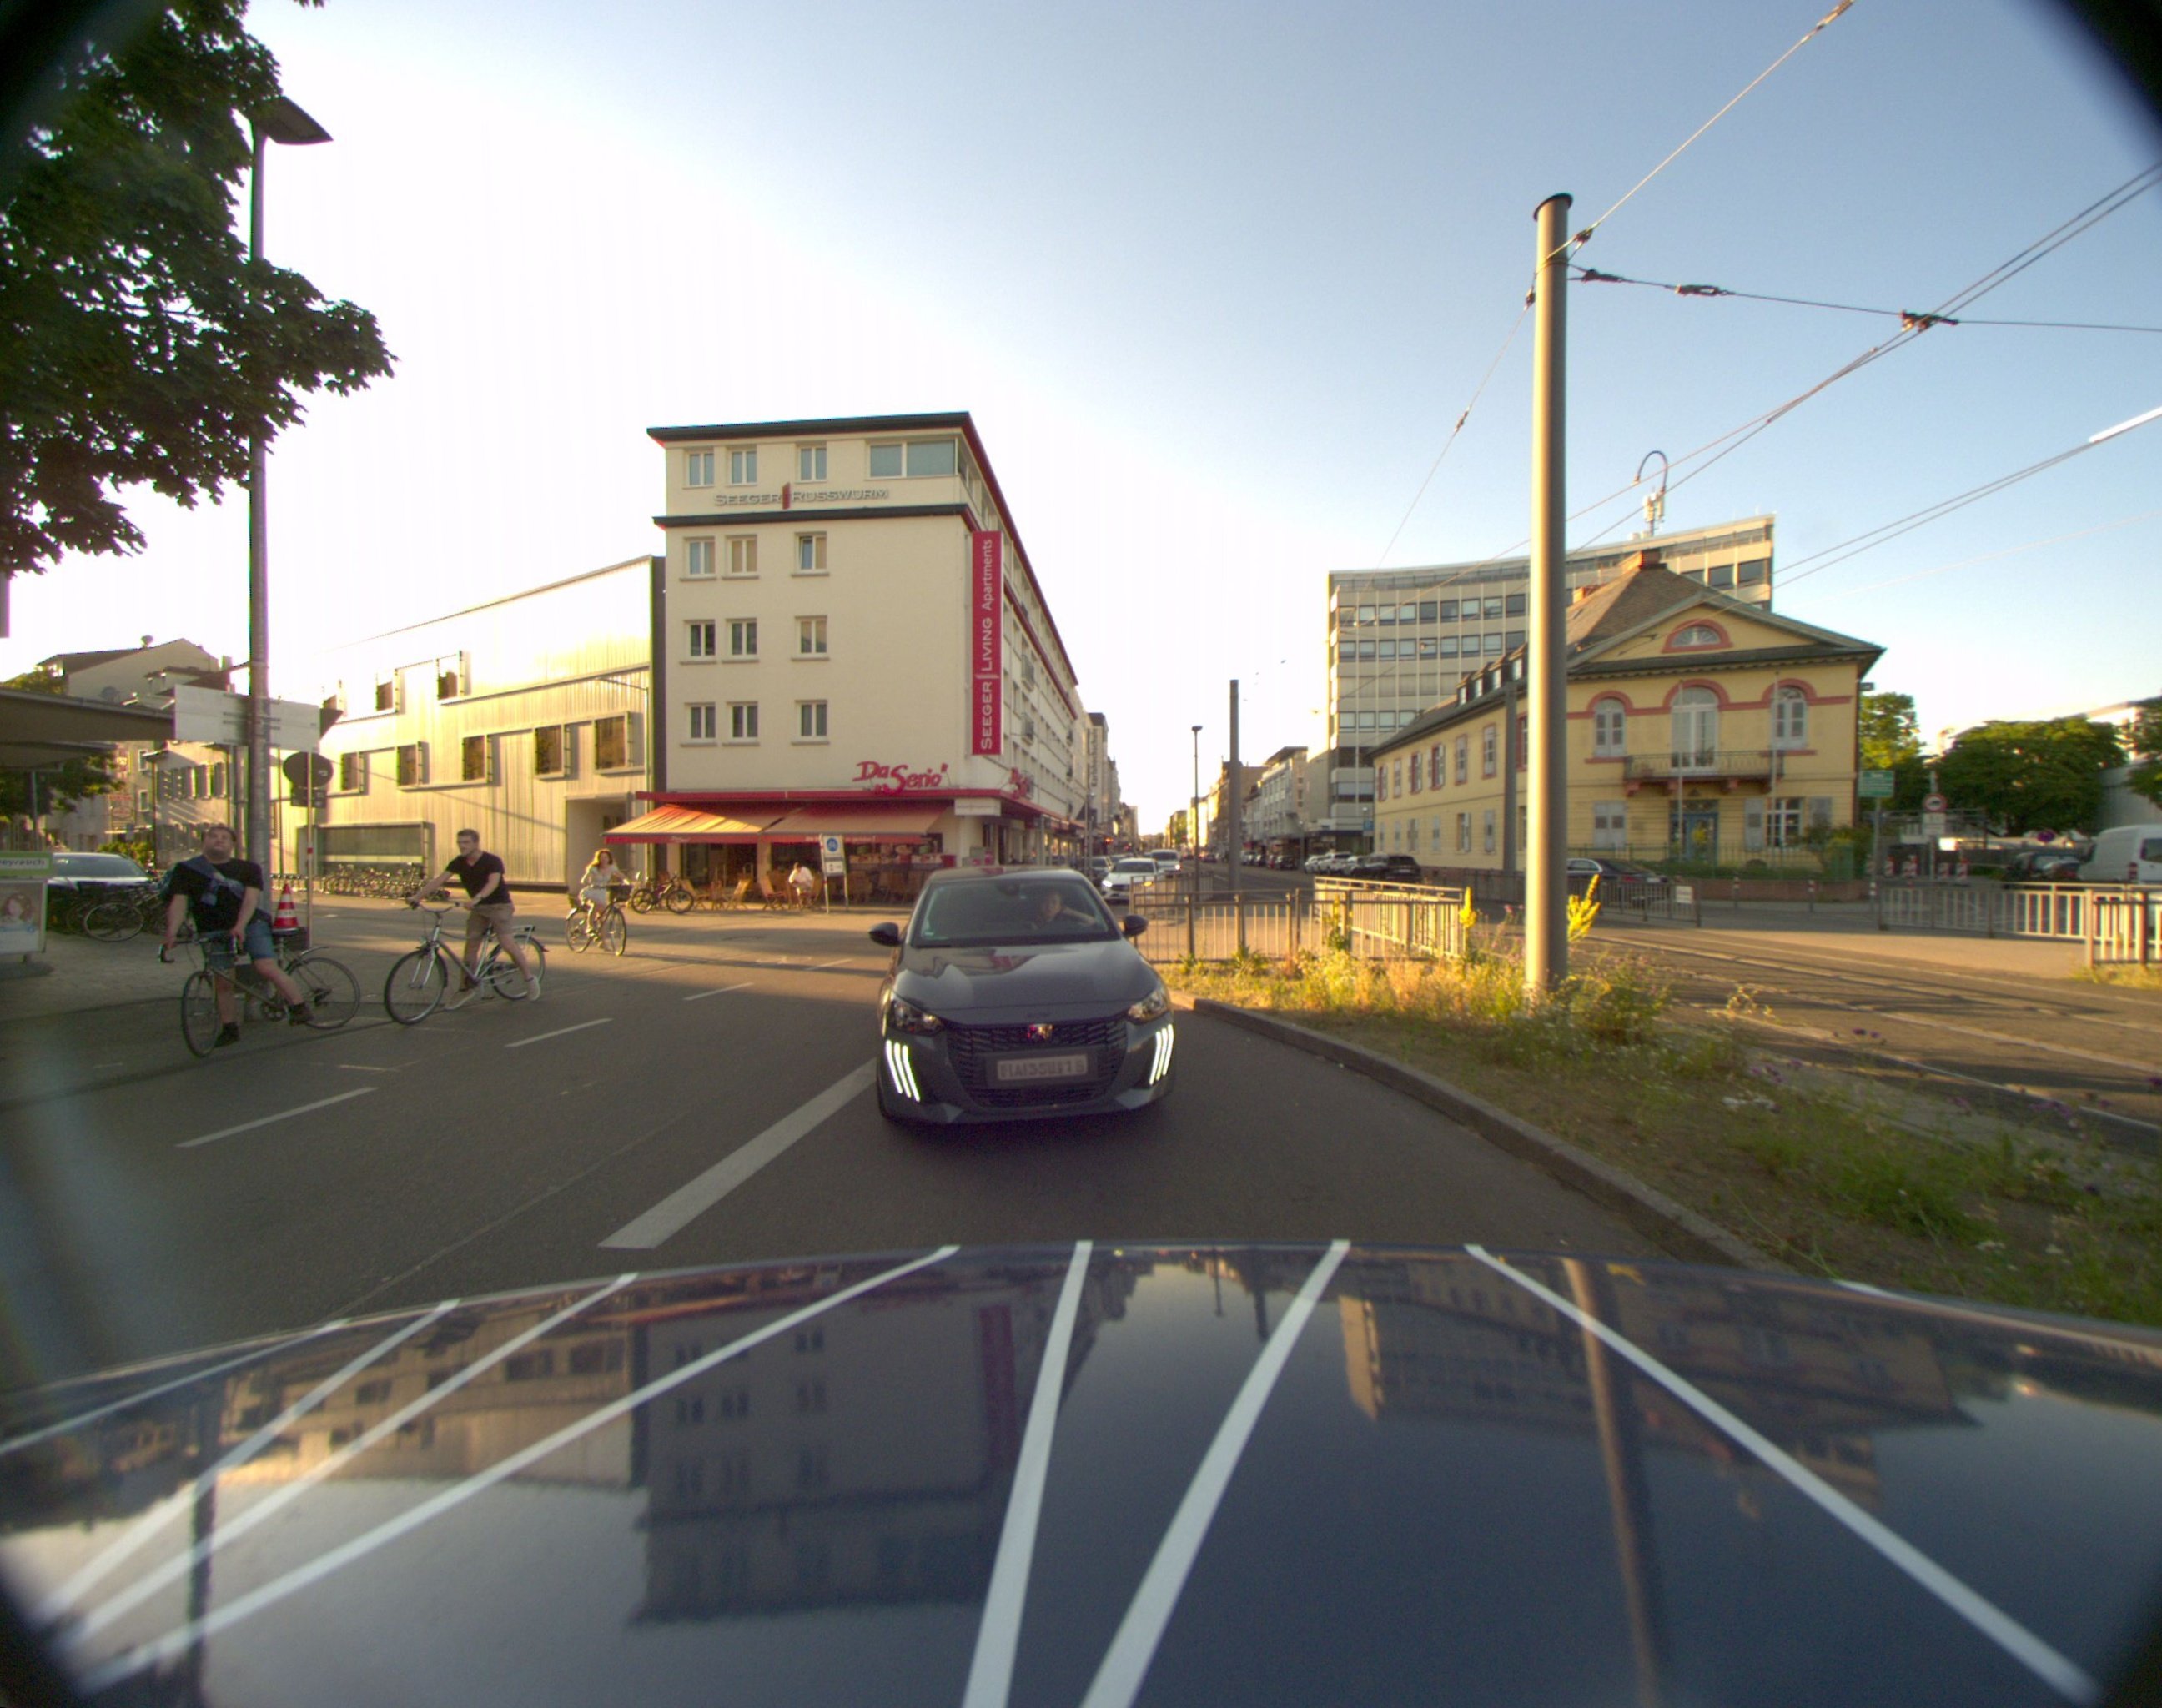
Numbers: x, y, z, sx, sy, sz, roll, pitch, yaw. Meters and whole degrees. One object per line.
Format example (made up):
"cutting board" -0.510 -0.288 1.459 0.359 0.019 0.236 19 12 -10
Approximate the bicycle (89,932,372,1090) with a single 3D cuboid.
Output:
"bicycle" -7.079 1.244 6.477 0.466 0.965 1.800 0 0 -3

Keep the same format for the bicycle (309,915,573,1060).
"bicycle" -6.151 1.225 7.519 0.840 1.014 2.076 0 2 -1

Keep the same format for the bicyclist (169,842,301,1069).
"bicyclist" -7.075 0.816 6.379 0.466 1.819 0.559 0 1 -3

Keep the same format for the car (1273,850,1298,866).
"car" 20.237 0.384 75.184 1.689 1.503 4.216 0 0 5

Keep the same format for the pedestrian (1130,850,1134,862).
"pedestrian" 7.624 0.297 113.801 0.605 1.717 0.646 1 1 5

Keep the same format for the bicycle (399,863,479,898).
"bicycle" -23.658 0.960 28.052 0.702 1.213 2.117 0 -1 27

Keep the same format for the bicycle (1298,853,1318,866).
"bicycle" 24.949 0.642 83.678 1.973 1.417 0.834 1 1 3

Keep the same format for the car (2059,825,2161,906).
"car" 36.564 0.367 26.259 2.092 2.615 5.437 1 1 38

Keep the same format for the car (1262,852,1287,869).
"car" 20.433 0.629 80.205 1.689 1.503 4.216 9 1 5

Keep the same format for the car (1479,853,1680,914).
"car" 14.504 0.761 22.307 2.004 1.576 4.573 0 1 -43

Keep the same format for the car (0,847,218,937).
"car" -20.887 0.753 16.306 3.990 1.739 1.897 0 -2 22

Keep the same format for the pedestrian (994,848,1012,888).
"pedestrian" -3.411 0.615 33.380 0.605 1.750 0.525 -1 1 -39

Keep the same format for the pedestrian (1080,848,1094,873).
"pedestrian" 0.421 0.423 52.677 0.828 1.708 0.843 2 1 5

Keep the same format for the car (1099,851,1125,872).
"car" 2.438 0.552 58.615 1.739 1.503 4.305 2 0 5

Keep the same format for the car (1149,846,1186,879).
"car" 4.949 0.438 43.841 1.998 1.805 4.001 0 0 5

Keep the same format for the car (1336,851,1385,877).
"car" 18.289 0.616 49.927 1.817 1.608 4.215 0 0 2

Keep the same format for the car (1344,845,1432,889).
"car" 13.987 0.561 34.971 1.999 1.890 4.810 0 0 -1

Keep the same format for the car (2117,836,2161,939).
"car" 17.859 0.521 10.255 2.001 1.576 4.108 0 0 -14

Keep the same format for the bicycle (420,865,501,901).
"bicycle" -22.179 1.022 27.213 0.702 1.213 2.117 0 -1 27

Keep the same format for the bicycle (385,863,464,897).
"bicycle" -24.693 0.973 28.615 0.702 1.213 2.117 0 -1 27

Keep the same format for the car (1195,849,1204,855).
"car" 30.062 -0.566 192.522 1.998 1.543 4.001 0 1 5

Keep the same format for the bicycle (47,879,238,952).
"bicycle" -17.300 1.091 14.084 0.702 1.213 2.117 0 -1 27

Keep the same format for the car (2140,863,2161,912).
"car" 33.170 1.042 21.866 1.994 1.477 4.102 1 1 37

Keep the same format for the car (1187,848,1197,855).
"car" 25.912 -0.625 177.655 1.997 1.543 4.001 0 0 6

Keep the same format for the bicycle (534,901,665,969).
"bicycle" -7.532 1.229 11.867 2.007 0.876 0.842 0 1 29

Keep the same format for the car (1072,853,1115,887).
"car" 0.688 0.753 38.278 1.739 1.503 4.687 2 0 5

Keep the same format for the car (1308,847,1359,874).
"car" 18.242 0.460 55.133 1.818 1.775 4.495 -4 0 -5

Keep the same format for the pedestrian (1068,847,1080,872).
"pedestrian" -0.505 0.402 53.422 0.730 1.731 0.863 2 1 5

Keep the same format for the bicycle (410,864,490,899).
"bicycle" -22.941 0.979 27.658 0.702 1.213 2.117 0 -1 27

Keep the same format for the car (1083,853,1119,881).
"car" 1.215 0.744 44.449 1.789 1.503 4.053 2 0 5

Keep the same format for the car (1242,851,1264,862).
"car" 21.774 0.304 96.497 1.998 1.457 4.559 -1 0 4

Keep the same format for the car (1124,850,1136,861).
"car" 7.725 0.227 119.674 1.681 1.534 3.887 2 0 6

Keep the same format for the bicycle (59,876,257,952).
"bicycle" -16.334 1.010 13.529 0.702 1.213 2.117 0 -1 27

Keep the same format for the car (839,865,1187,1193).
"car" -0.651 0.885 5.979 1.733 1.513 4.330 -1 0 -9

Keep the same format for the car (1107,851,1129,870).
"car" 3.211 0.542 64.983 1.794 1.503 4.713 2 0 4

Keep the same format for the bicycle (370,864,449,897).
"bicycle" -25.685 0.984 29.107 0.702 1.213 2.117 0 -1 27

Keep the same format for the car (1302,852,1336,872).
"car" 19.161 0.602 61.409 1.816 1.503 4.434 1 0 7

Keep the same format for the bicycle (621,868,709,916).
"bicycle" -11.518 1.039 21.046 2.110 1.280 0.705 0 1 8

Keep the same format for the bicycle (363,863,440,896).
"bicycle" -26.427 0.978 29.581 0.702 1.213 2.117 0 -1 27

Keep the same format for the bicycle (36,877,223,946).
"bicycle" -18.291 1.079 14.691 0.702 1.212 2.118 0 -2 27

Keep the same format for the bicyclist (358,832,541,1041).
"bicyclist" -6.154 0.754 7.484 0.840 1.906 1.115 0 1 1

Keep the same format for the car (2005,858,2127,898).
"car" 39.950 0.933 30.959 1.994 1.477 4.102 1 1 37

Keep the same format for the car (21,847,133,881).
"car" -63.686 0.592 48.267 1.995 2.002 4.007 -1 1 31

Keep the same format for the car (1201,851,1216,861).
"car" 20.496 0.279 122.525 1.740 1.503 4.034 0 0 -1

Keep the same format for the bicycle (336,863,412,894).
"bicycle" -28.467 0.985 30.644 0.702 1.213 2.117 0 -1 27

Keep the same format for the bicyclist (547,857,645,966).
"bicyclist" -7.584 0.859 11.893 1.112 1.613 0.842 0 1 29

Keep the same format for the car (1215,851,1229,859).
"car" 25.506 0.156 137.413 1.998 1.535 4.880 -1 0 5

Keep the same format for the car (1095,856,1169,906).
"car" 1.763 0.810 24.924 1.997 1.450 4.003 0 0 10

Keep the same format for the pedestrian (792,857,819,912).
"pedestrian" -7.919 0.862 21.842 0.574 1.533 0.572 0 1 -2

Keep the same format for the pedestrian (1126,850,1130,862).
"pedestrian" 6.992 0.255 113.878 0.610 1.743 0.605 1 1 5

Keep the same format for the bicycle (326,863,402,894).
"bicycle" -29.161 0.985 30.942 0.702 1.213 2.117 0 -1 27

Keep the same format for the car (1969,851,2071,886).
"car" 42.797 0.607 34.761 1.994 1.477 4.102 1 1 37

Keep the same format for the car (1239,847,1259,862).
"car" 22.966 0.013 104.038 1.959 1.965 5.164 1 0 4

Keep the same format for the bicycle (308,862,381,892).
"bicycle" -31.280 0.973 32.322 0.703 1.213 2.116 0 -1 20
